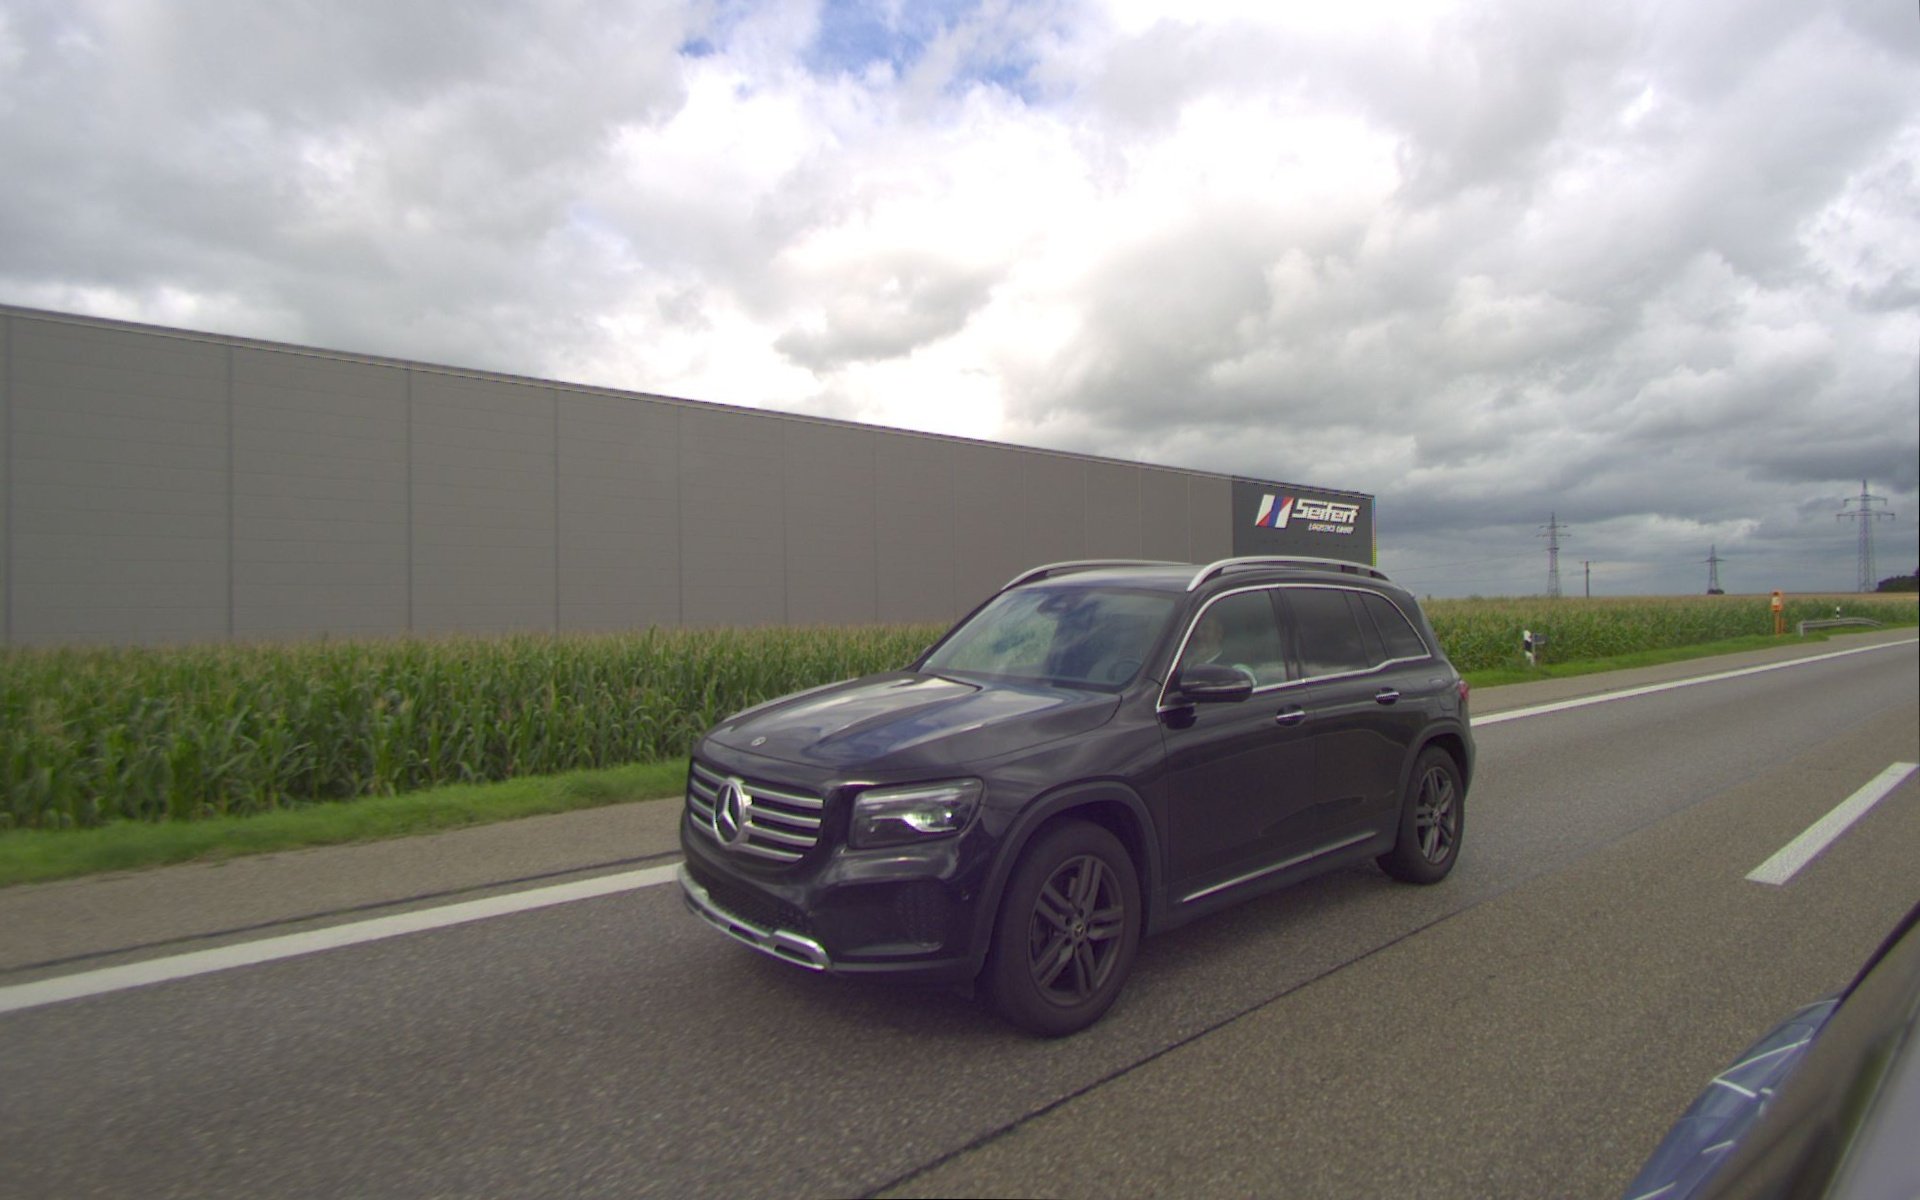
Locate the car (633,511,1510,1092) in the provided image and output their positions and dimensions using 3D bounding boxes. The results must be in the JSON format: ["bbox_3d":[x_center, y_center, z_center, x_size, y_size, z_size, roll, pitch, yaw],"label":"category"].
[{"bbox_3d":[0.839,0.537,4.936,4.283,1.629,1.837,-1,1,-40],"label":"car"}]
